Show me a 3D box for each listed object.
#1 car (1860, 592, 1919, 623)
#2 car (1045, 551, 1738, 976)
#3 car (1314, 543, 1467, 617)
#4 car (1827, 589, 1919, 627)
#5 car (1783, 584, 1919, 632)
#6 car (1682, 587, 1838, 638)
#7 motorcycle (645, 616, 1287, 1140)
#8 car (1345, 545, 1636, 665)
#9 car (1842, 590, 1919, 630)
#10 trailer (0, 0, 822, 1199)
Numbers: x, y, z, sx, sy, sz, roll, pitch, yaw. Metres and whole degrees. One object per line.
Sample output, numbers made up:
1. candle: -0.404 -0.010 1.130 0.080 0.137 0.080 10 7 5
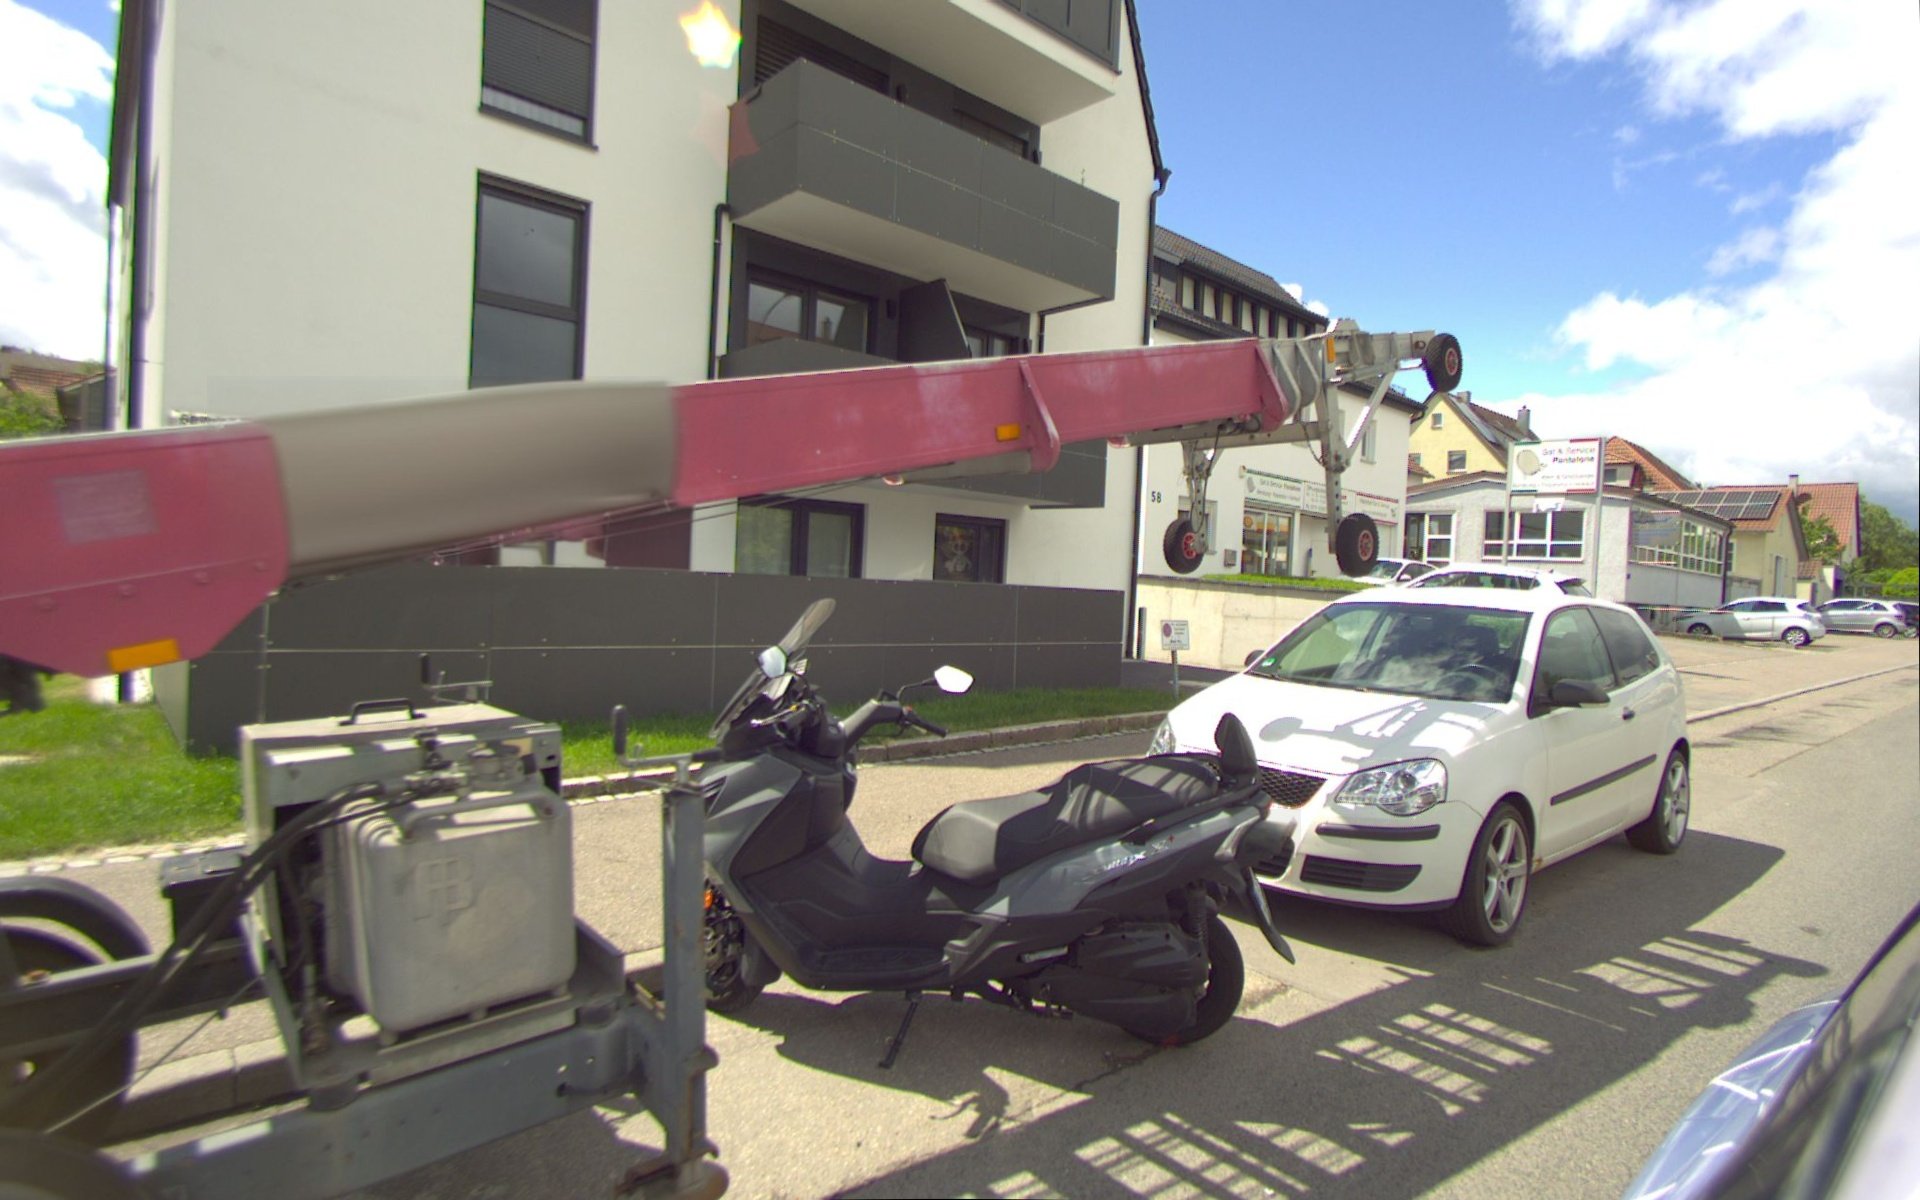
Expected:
1. car: 51.400 0.504 54.281 1.941 1.423 4.415 1 5 -43
2. car: 2.505 0.568 5.457 3.911 1.449 1.725 1 3 -39
3. car: 10.592 -0.477 24.838 3.592 1.537 1.639 3 4 -33
4. car: 45.322 0.422 49.302 1.941 1.543 4.415 1 5 -43
5. car: 38.989 0.326 44.178 1.941 1.627 4.415 1 5 -43
6. car: 26.946 0.386 34.154 1.719 1.629 3.905 1 0 -41
7. motorcycle: 0.025 0.717 3.150 1.797 1.225 0.714 3 1 15
8. car: 9.493 0.001 18.403 1.834 1.673 4.204 1 5 -40
9. car: 42.631 0.457 46.513 1.941 1.543 2.893 1 5 -43
10. trailer: -2.379 0.257 1.209 4.042 2.171 1.776 0 2 -41
